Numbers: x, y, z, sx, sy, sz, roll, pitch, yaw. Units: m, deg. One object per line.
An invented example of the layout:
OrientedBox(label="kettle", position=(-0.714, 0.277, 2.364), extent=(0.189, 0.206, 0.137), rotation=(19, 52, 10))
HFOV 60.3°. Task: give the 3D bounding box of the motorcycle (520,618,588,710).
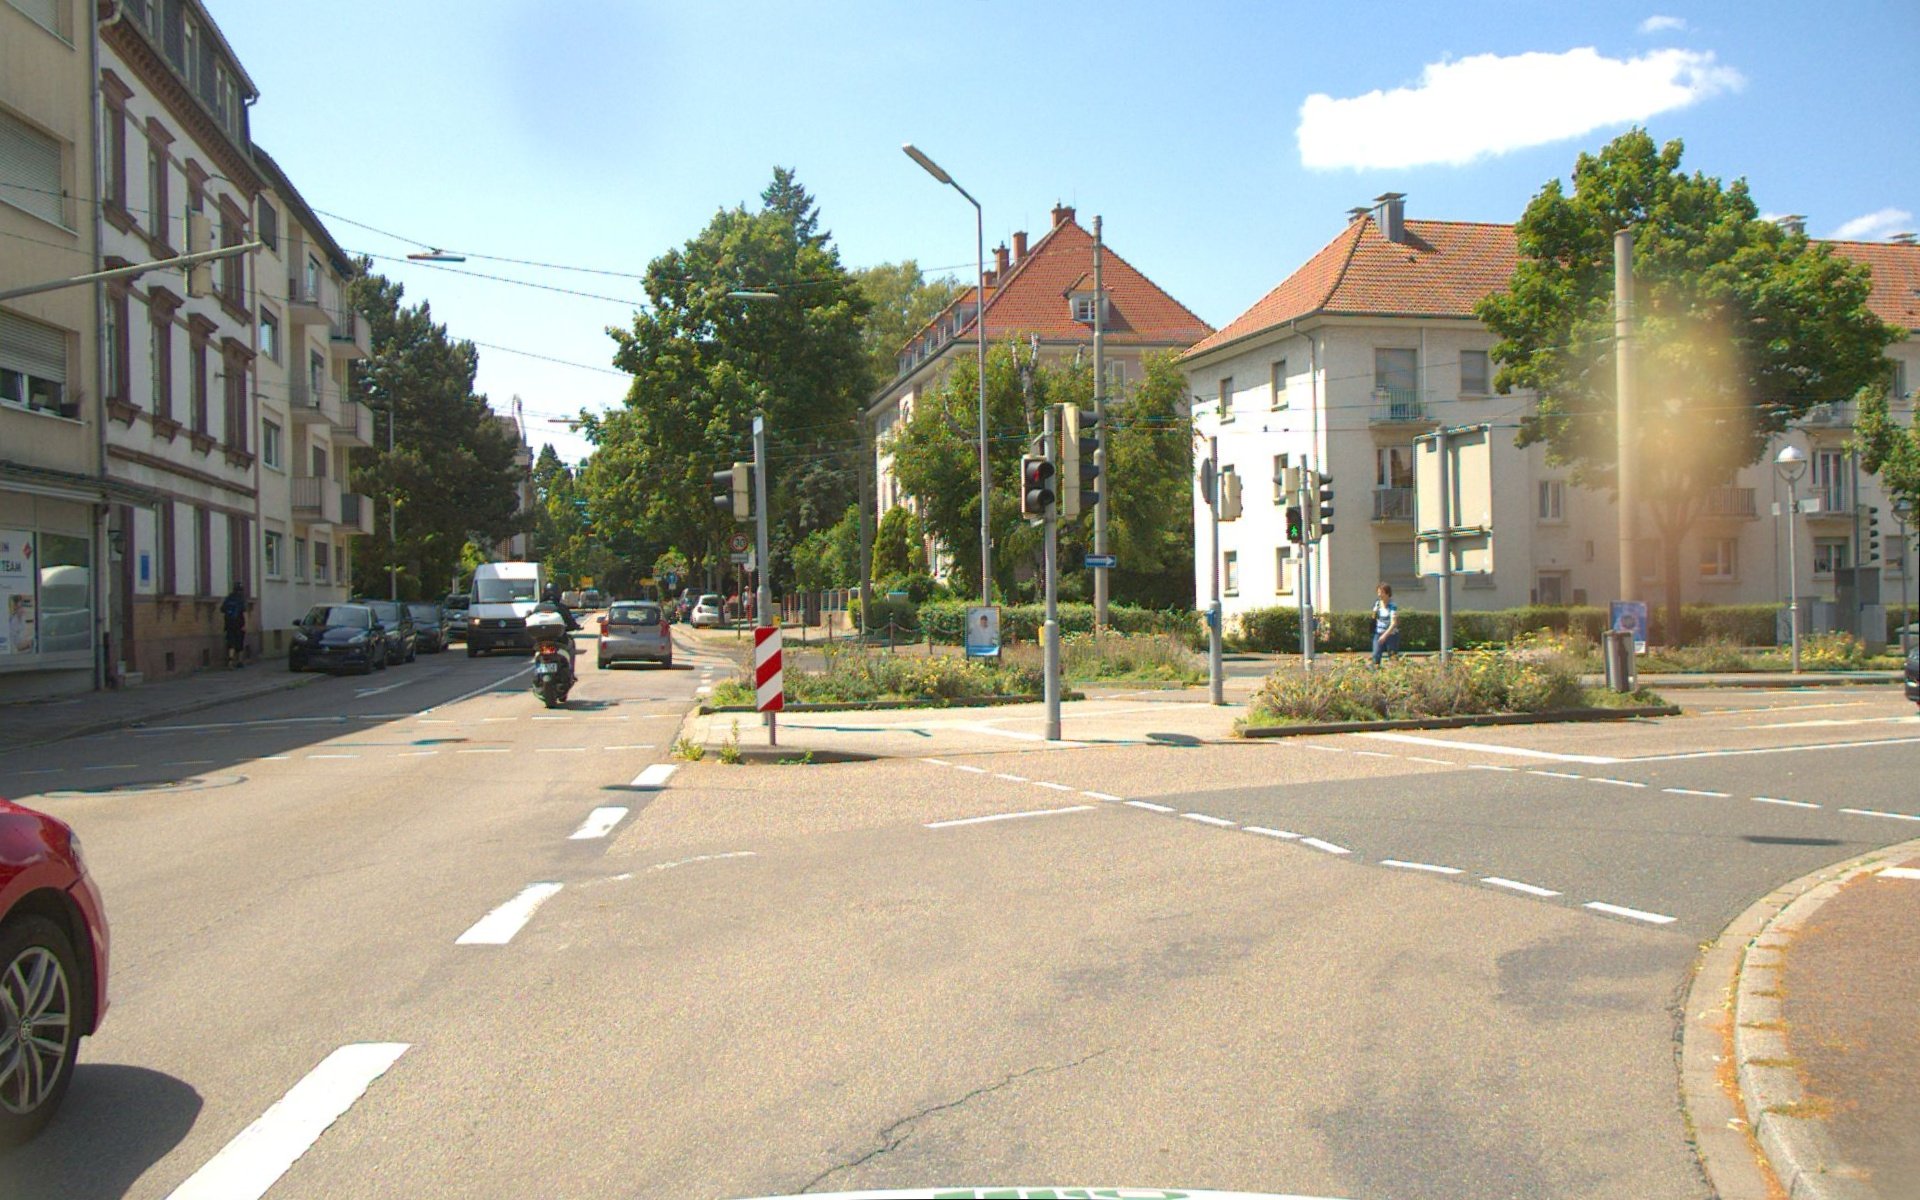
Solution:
OrientedBox(label="motorcycle", position=(-5.506, 0.837, 22.527), extent=(0.698, 1.154, 2.193), rotation=(-1, 0, -9))

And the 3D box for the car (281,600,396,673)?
OrientedBox(label="car", position=(-13.801, 0.798, 36.938), extent=(1.960, 1.546, 3.985), rotation=(0, -1, -14))

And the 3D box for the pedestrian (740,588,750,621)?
OrientedBox(label="pedestrian", position=(-10.899, 0.242, 83.946), extent=(0.499, 1.685, 0.465), rotation=(0, 0, -8))

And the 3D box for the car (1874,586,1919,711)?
OrientedBox(label="car", position=(13.845, 0.569, 20.933), extent=(4.362, 1.526, 1.981), rotation=(-1, 0, -29))

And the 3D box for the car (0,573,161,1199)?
OrientedBox(label="car", position=(-3.291, 0.724, 2.981), extent=(1.762, 1.585, 4.037), rotation=(0, 0, -1))

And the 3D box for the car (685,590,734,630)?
OrientedBox(label="car", position=(-11.738, 0.455, 77.332), extent=(1.959, 1.839, 3.986), rotation=(0, 0, -13))

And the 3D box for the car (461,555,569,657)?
OrientedBox(label="car", position=(-12.655, 0.164, 47.543), extent=(2.176, 2.544, 7.535), rotation=(-4, 0, -10))

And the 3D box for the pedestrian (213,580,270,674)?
OrientedBox(label="pedestrian", position=(-15.366, 0.567, 35.396), extent=(0.919, 1.965, 0.974), rotation=(-1, 0, -13))

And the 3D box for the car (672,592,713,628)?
OrientedBox(label="car", position=(-14.638, 0.509, 90.453), extent=(1.959, 1.940, 3.986), rotation=(0, 0, -13))

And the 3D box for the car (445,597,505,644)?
OrientedBox(label="car", position=(-19.399, 0.786, 66.266), extent=(1.766, 1.747, 4.028), rotation=(2, 0, -10))

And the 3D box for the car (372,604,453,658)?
OrientedBox(label="car", position=(-16.535, 0.905, 50.114), extent=(1.960, 1.536, 3.986), rotation=(-1, 0, -14))

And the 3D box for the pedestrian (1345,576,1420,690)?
OrientedBox(label="pedestrian", position=(6.539, 0.501, 25.625), extent=(0.826, 1.735, 0.755), rotation=(-1, 0, -28))

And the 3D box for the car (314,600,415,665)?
OrientedBox(label="car", position=(-14.881, 0.804, 41.521), extent=(1.959, 1.546, 3.986), rotation=(0, -1, -14))

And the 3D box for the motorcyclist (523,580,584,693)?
OrientedBox(label="motorcyclist", position=(-5.472, 0.478, 22.302), extent=(0.698, 1.471, 1.017), rotation=(-1, 0, -9))

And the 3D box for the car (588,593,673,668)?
OrientedBox(label="car", position=(-7.473, 0.650, 37.616), extent=(1.767, 1.585, 4.026), rotation=(-1, 0, -11))
